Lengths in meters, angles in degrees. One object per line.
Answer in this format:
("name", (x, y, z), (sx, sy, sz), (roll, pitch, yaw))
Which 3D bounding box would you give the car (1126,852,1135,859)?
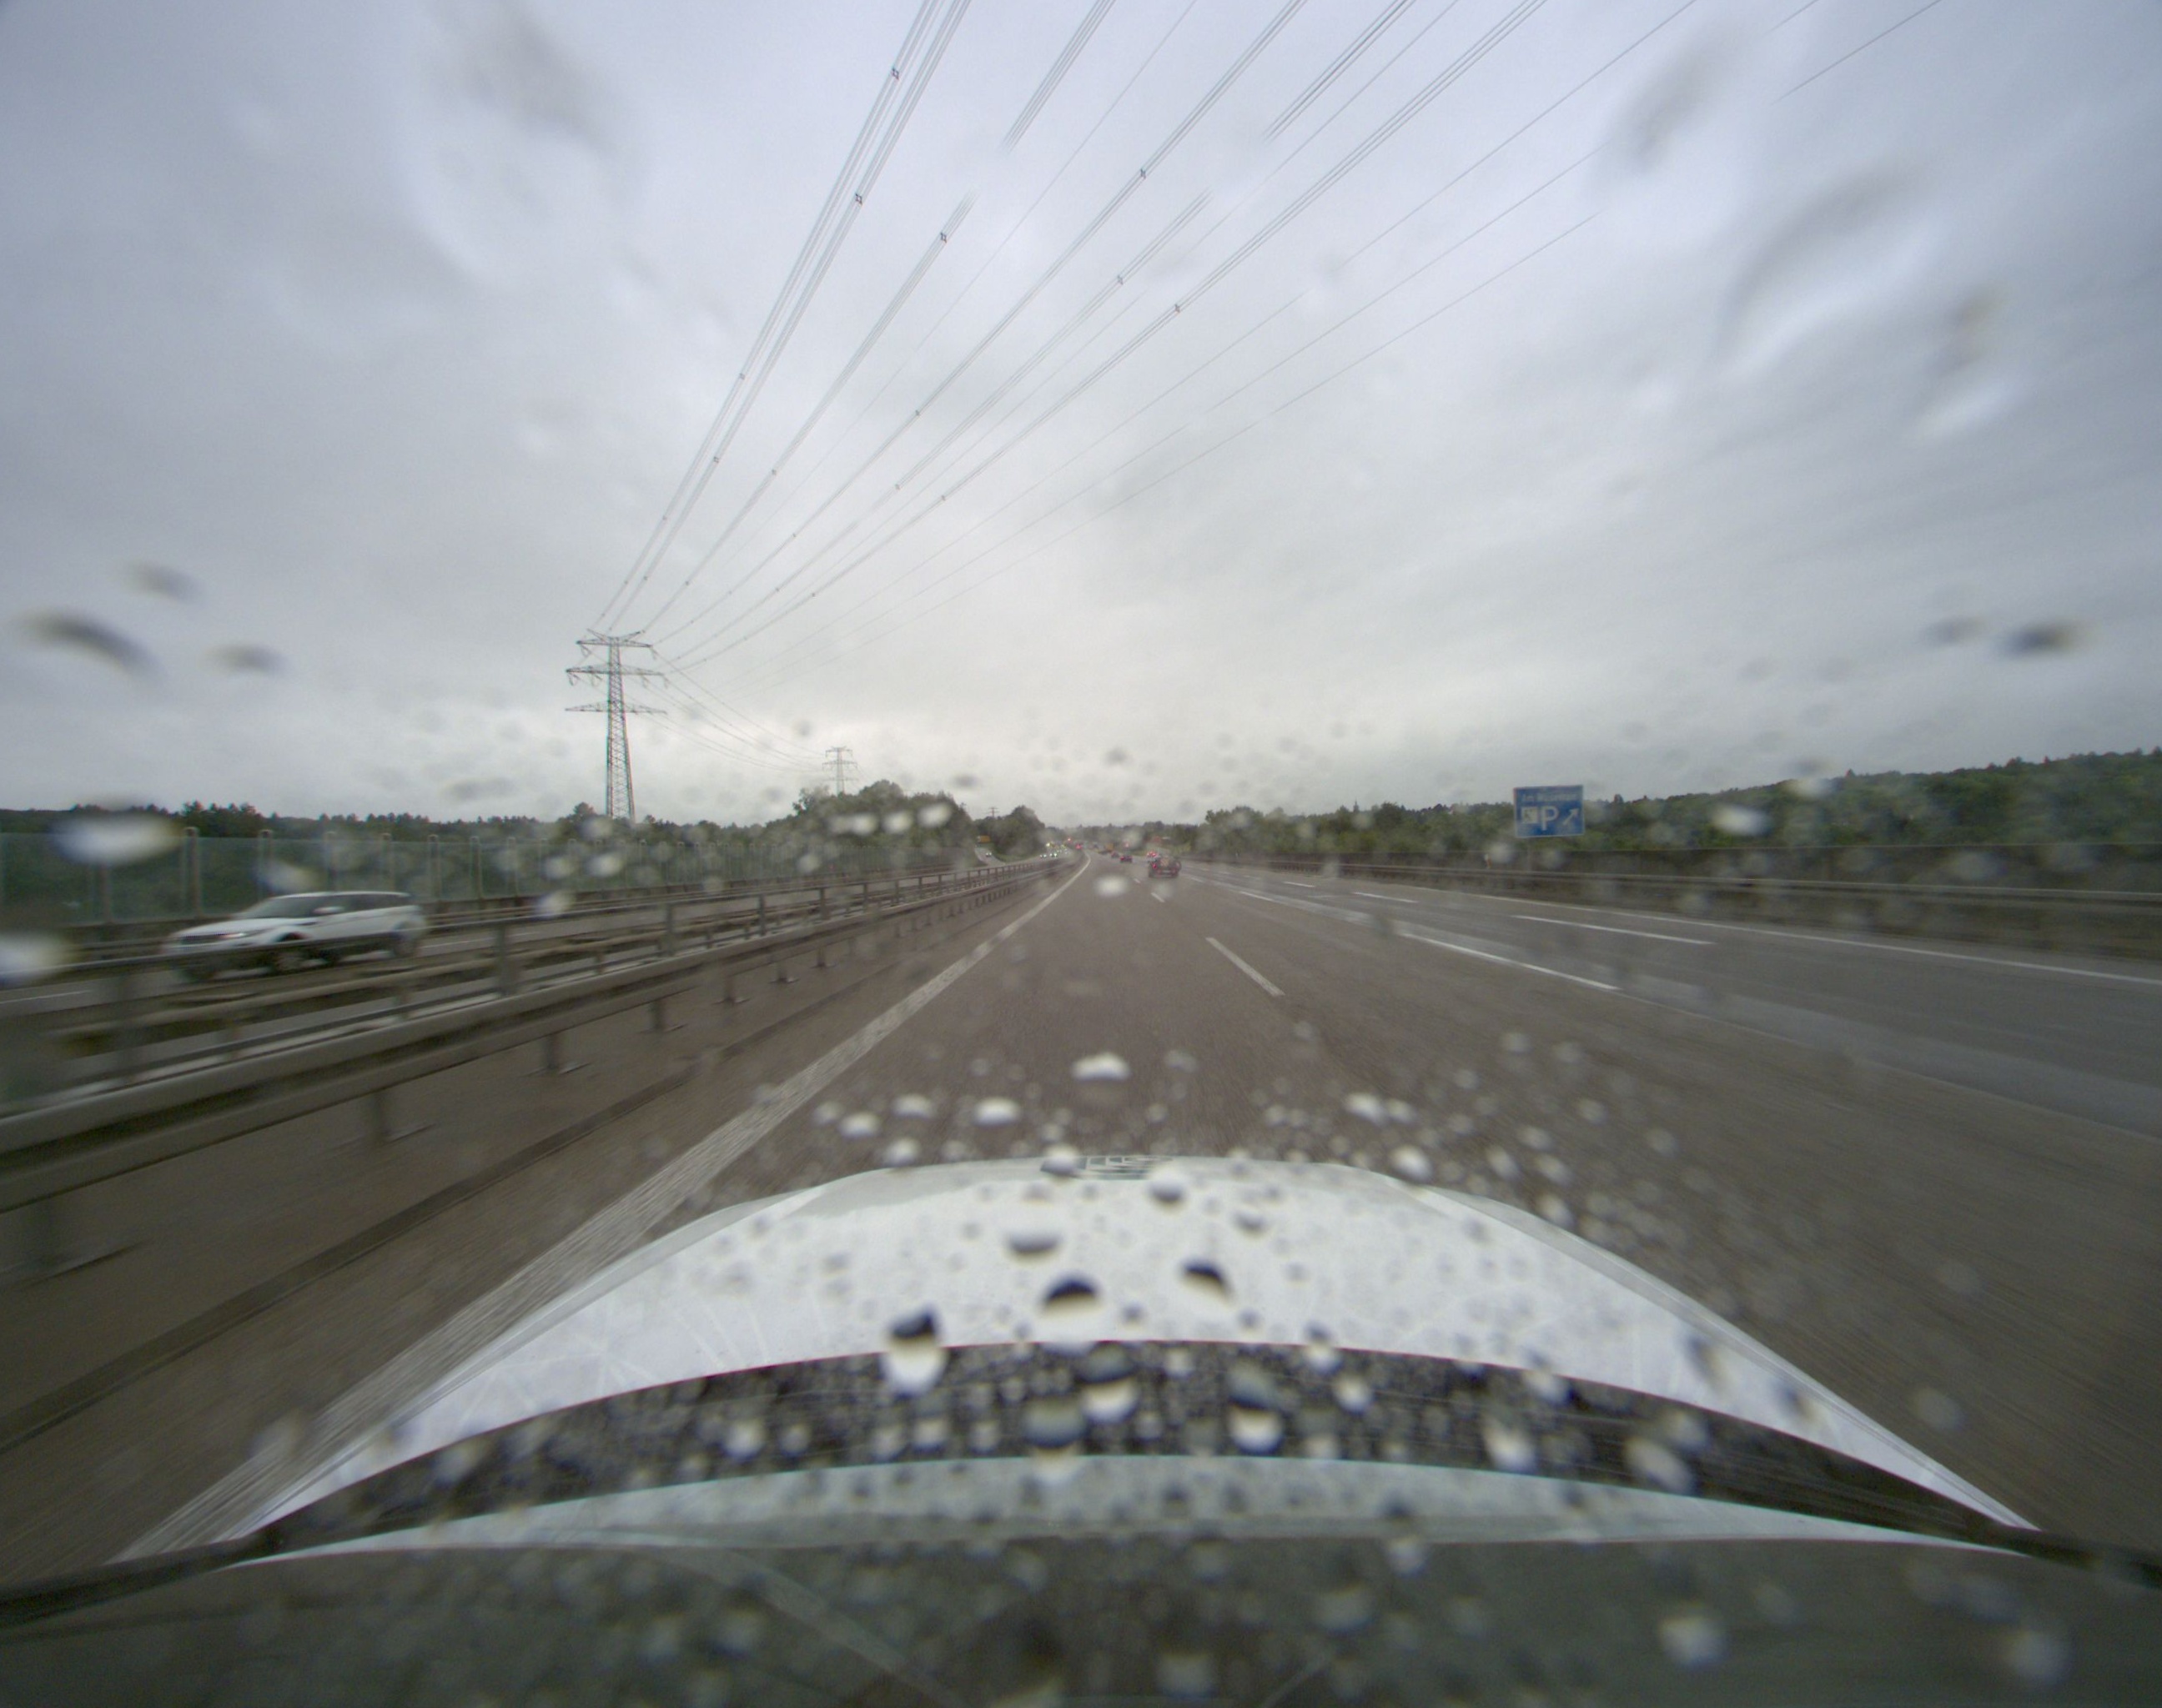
("car", (12.108, 0.370, 198.746), (1.988, 1.760, 3.999), (-3, 1, -1))

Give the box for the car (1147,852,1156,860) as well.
("car", (16.325, 0.373, 187.913), (1.913, 1.709, 4.007), (-3, 0, 6))

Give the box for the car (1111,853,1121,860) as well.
("car", (8.162, 0.559, 188.535), (1.988, 1.628, 3.999), (-3, 1, -1))

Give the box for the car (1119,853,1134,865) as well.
("car", (7.178, 0.783, 128.016), (1.988, 1.760, 3.999), (-3, 1, -1))

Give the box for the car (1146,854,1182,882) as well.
("car", (5.451, 0.891, 54.099), (2.049, 1.671, 5.525), (-1, 0, 3))

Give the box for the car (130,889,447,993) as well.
("car", (-16.425, 1.701, 17.344), (1.986, 1.629, 4.715), (-2, 0, 1))
